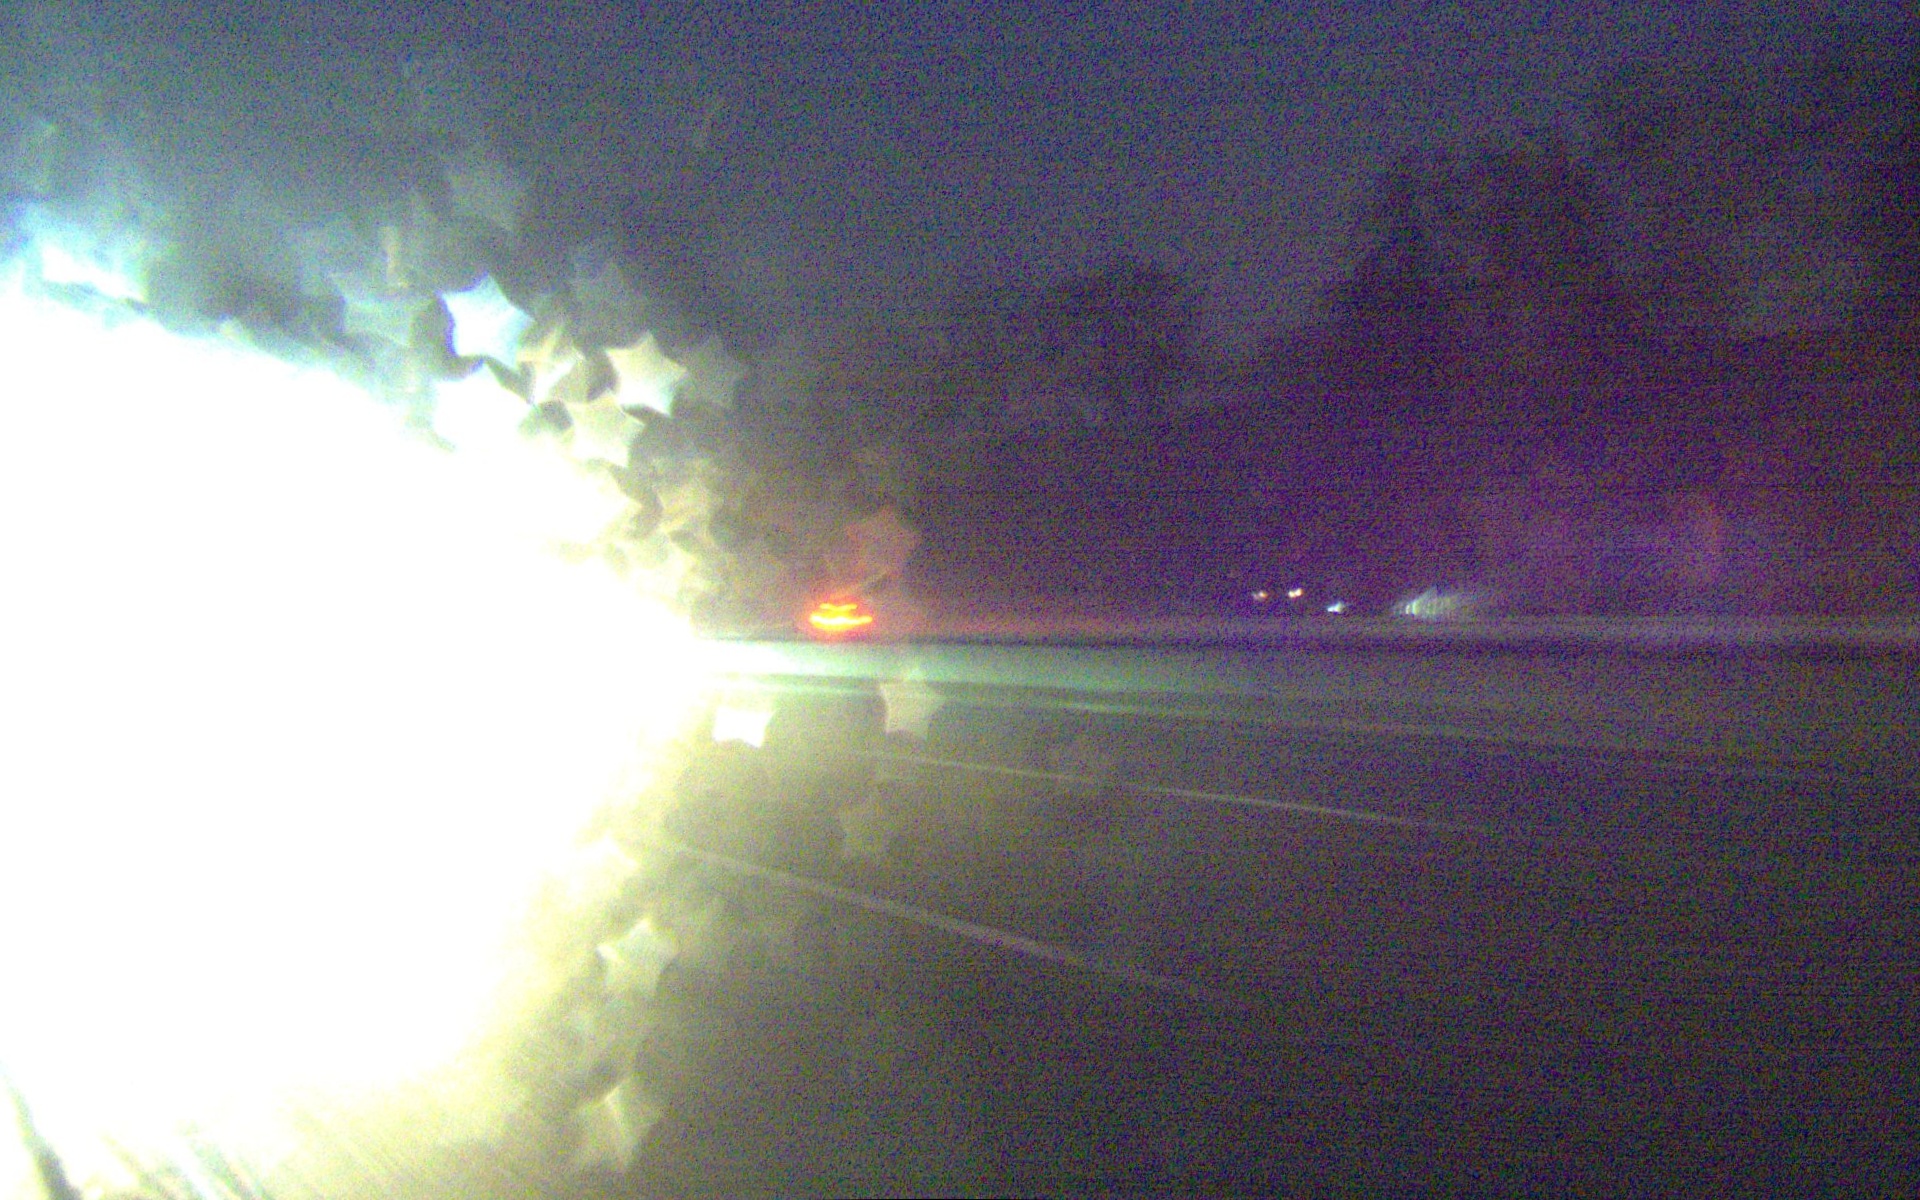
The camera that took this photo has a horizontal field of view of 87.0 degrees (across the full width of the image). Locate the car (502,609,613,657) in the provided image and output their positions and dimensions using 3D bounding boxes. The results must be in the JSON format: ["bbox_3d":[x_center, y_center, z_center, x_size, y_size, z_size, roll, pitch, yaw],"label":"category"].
[{"bbox_3d":[-15.381,1.230,38.559,4.671,1.608,1.973,-1,2,41],"label":"car"}]

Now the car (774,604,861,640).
[{"bbox_3d":[-6.508,0.989,46.062,3.984,1.482,1.757,-1,2,43],"label":"car"}]

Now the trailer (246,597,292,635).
[{"bbox_3d":[-98.047,2.246,143.422,3.226,5.106,13.984,-1,0,-43],"label":"trailer"}]

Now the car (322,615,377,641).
[{"bbox_3d":[-42.662,1.942,70.645,5.021,1.608,1.972,-2,2,43],"label":"car"}]

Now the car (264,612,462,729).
[{"bbox_3d":[-9.850,1.036,16.542,1.893,1.606,4.237,-1,0,-43],"label":"car"}]

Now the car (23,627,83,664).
[{"bbox_3d":[-45.166,2.231,50.369,1.971,1.689,4.002,-1,0,-45],"label":"car"}]

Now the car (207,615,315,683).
[{"bbox_3d":[-23.383,1.566,33.793,4.530,2.029,2.114,-1,0,44],"label":"car"}]

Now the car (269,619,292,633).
[{"bbox_3d":[-84.606,3.199,125.957,1.754,1.608,4.229,-4,2,-42],"label":"car"}]

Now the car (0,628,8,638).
[{"bbox_3d":[-148.134,5.142,155.936,4.002,1.397,1.971,-1,2,45],"label":"car"}]

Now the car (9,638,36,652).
[{"bbox_3d":[-84.425,4.045,91.131,3.422,1.165,1.670,-1,0,44],"label":"car"}]

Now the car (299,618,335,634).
[{"bbox_3d":[-69.108,2.810,108.744,5.149,1.608,1.758,-1,2,41],"label":"car"}]

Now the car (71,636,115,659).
[{"bbox_3d":[-67.489,3.695,78.735,3.873,1.621,2.279,-1,0,44],"label":"car"}]

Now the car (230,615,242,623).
[{"bbox_3d":[-154.582,4.051,216.185,1.754,1.608,4.007,-4,1,-39],"label":"car"}]
